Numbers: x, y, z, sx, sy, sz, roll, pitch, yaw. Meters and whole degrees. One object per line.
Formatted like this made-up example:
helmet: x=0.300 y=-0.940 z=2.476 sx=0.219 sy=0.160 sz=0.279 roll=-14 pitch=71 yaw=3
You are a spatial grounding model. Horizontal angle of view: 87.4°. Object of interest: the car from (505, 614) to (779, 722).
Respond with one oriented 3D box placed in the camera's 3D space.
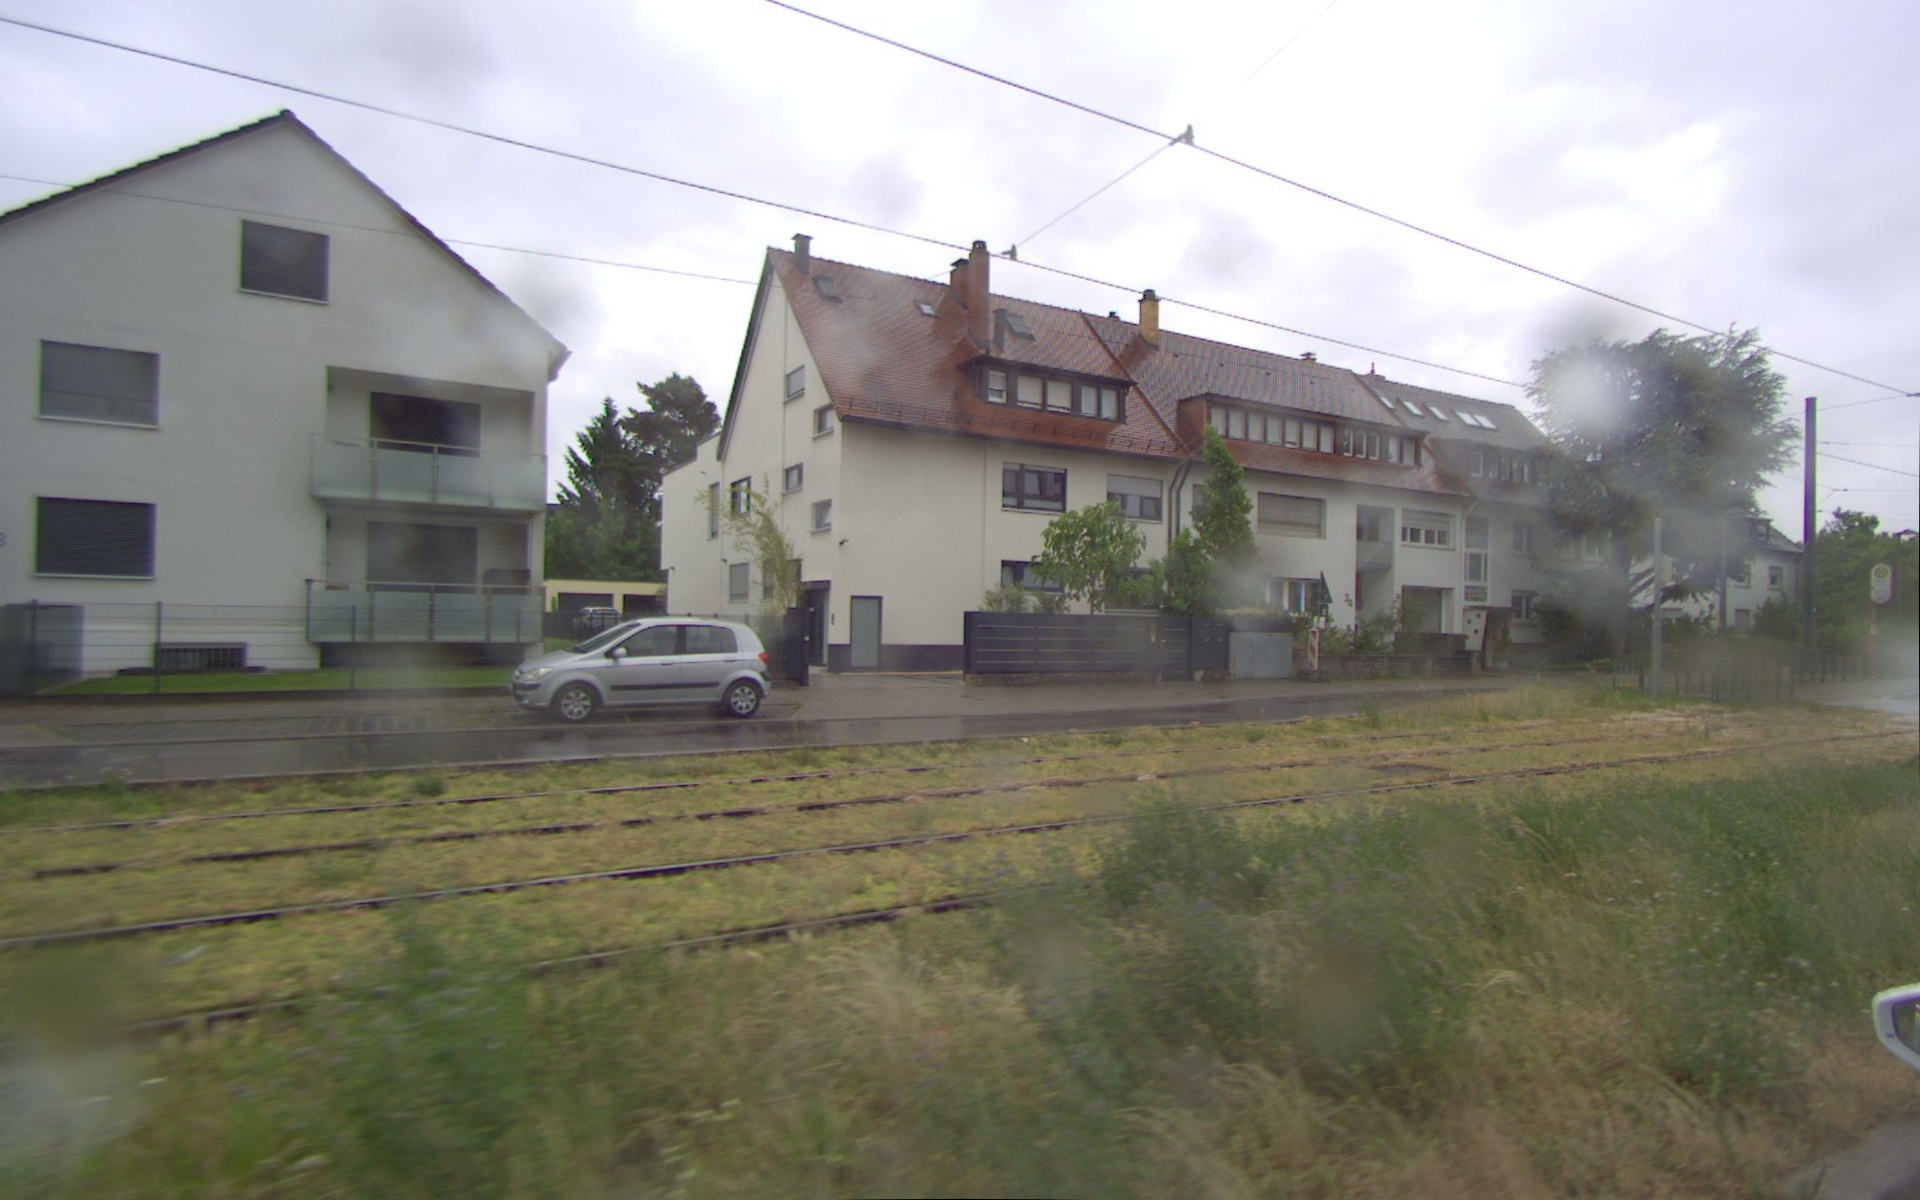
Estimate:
car: x=-4.874 y=1.009 z=15.442 sx=3.618 sy=1.432 sz=1.982 roll=3 pitch=-1 yaw=-32
